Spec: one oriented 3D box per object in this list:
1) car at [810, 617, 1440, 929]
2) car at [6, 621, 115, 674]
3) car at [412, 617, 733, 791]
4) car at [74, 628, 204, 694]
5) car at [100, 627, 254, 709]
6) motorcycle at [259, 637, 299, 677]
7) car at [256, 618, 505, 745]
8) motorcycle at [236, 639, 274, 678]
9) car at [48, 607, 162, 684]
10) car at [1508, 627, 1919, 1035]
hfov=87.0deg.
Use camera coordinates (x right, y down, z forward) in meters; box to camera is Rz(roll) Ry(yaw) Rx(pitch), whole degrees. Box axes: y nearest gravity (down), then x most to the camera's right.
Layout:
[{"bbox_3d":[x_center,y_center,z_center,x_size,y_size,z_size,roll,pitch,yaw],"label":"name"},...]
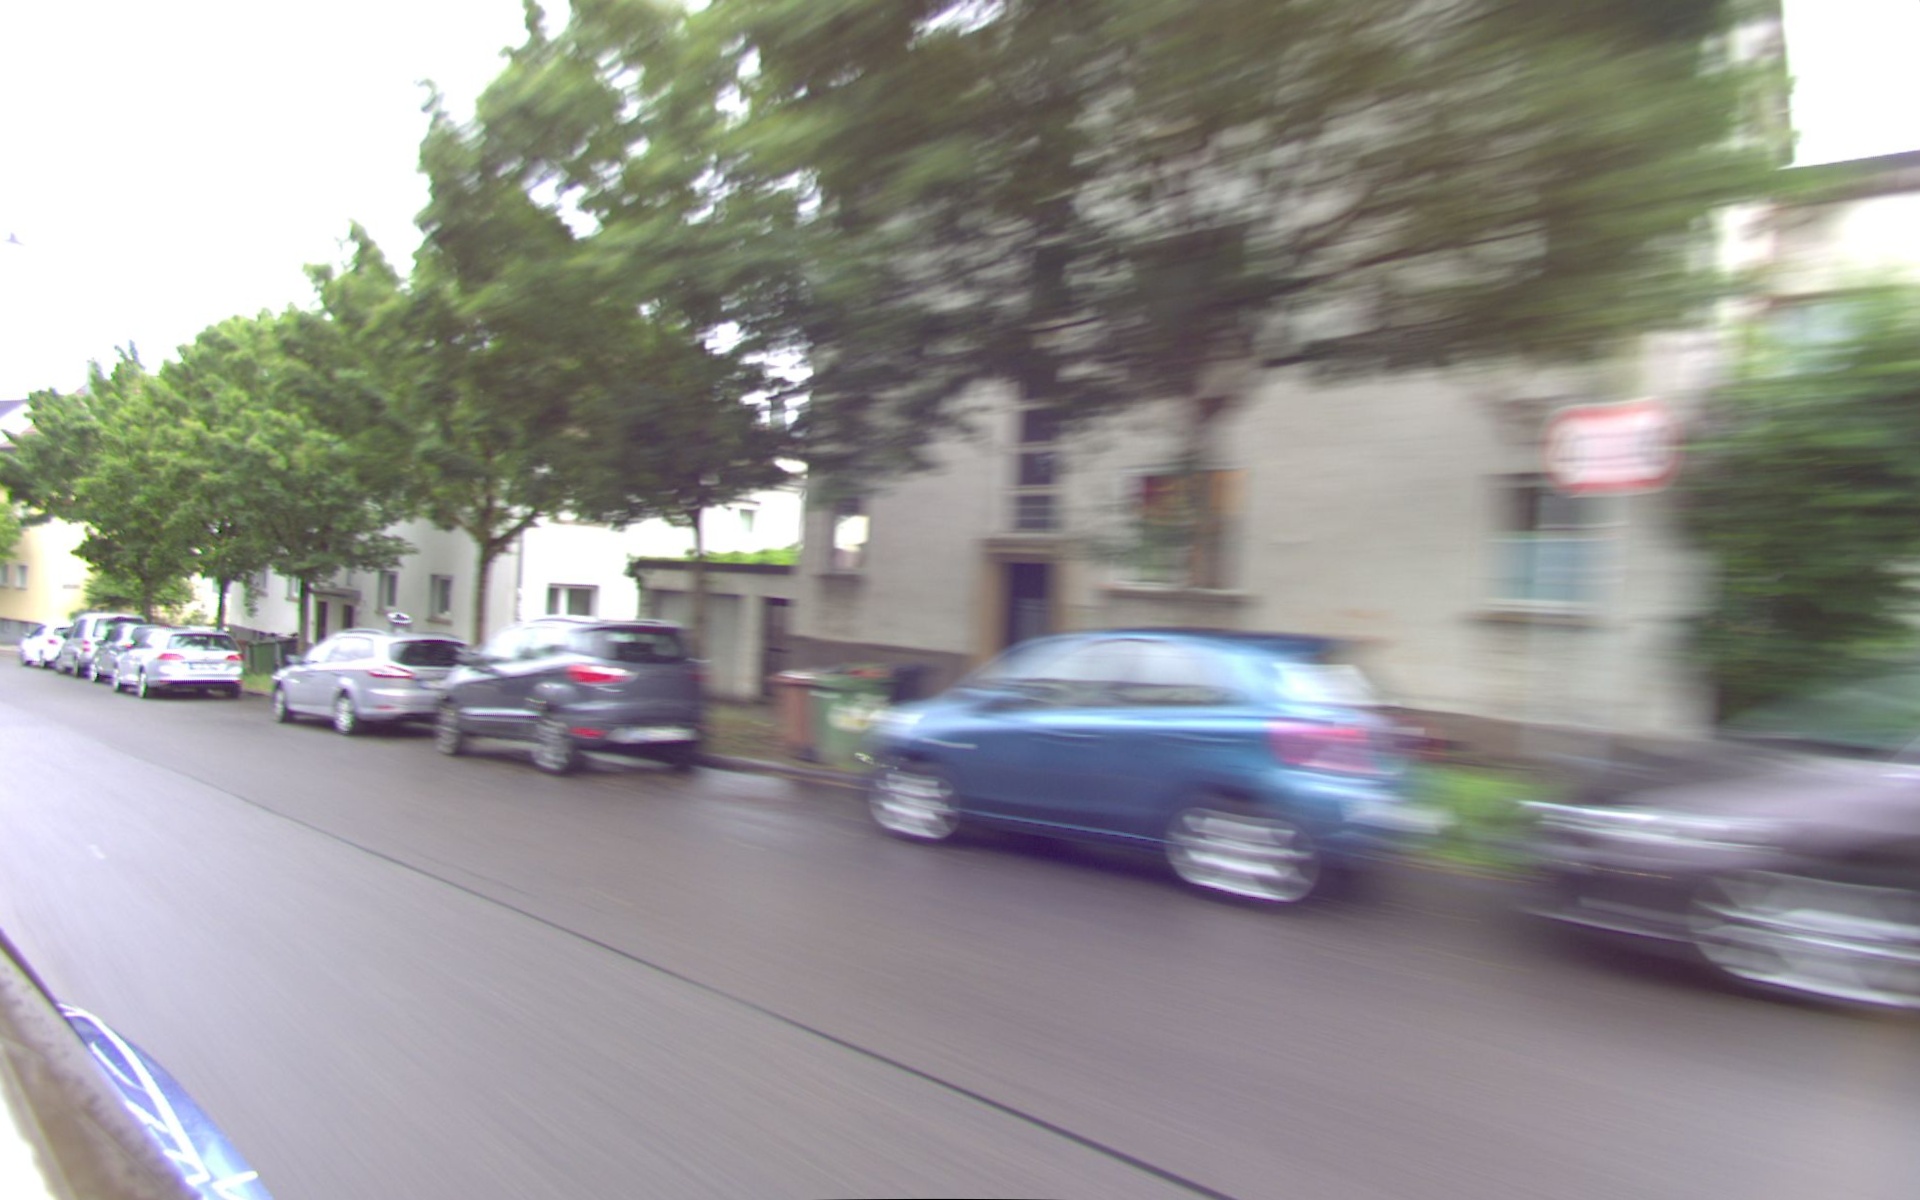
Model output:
[{"bbox_3d":[0.908,0.910,6.842,3.879,1.474,1.694,-2,-1,42],"label":"car"},{"bbox_3d":[-30.206,1.575,33.952,4.337,1.526,1.768,1,-3,36],"label":"car"},{"bbox_3d":[-4.637,1.036,11.832,4.137,1.639,1.786,0,-1,41],"label":"car"},{"bbox_3d":[-21.710,1.577,26.700,4.232,1.497,1.787,1,-3,39],"label":"car"},{"bbox_3d":[-17.389,1.416,22.402,4.593,1.464,1.786,1,1,40],"label":"car"},{"bbox_3d":[-19.706,1.631,29.287,1.617,1.107,0.407,-1,-3,36],"label":"motorcycle"},{"bbox_3d":[-9.072,1.158,15.656,4.797,1.564,1.786,1,-3,41],"label":"car"},{"bbox_3d":[-21.115,1.749,30.299,1.617,1.129,0.426,-1,-3,36],"label":"motorcycle"},{"bbox_3d":[-25.495,1.265,30.114,4.545,2.016,1.894,1,1,40],"label":"car"},{"bbox_3d":[4.863,0.847,4.198,4.157,1.401,1.991,0,-1,14],"label":"car"}]
